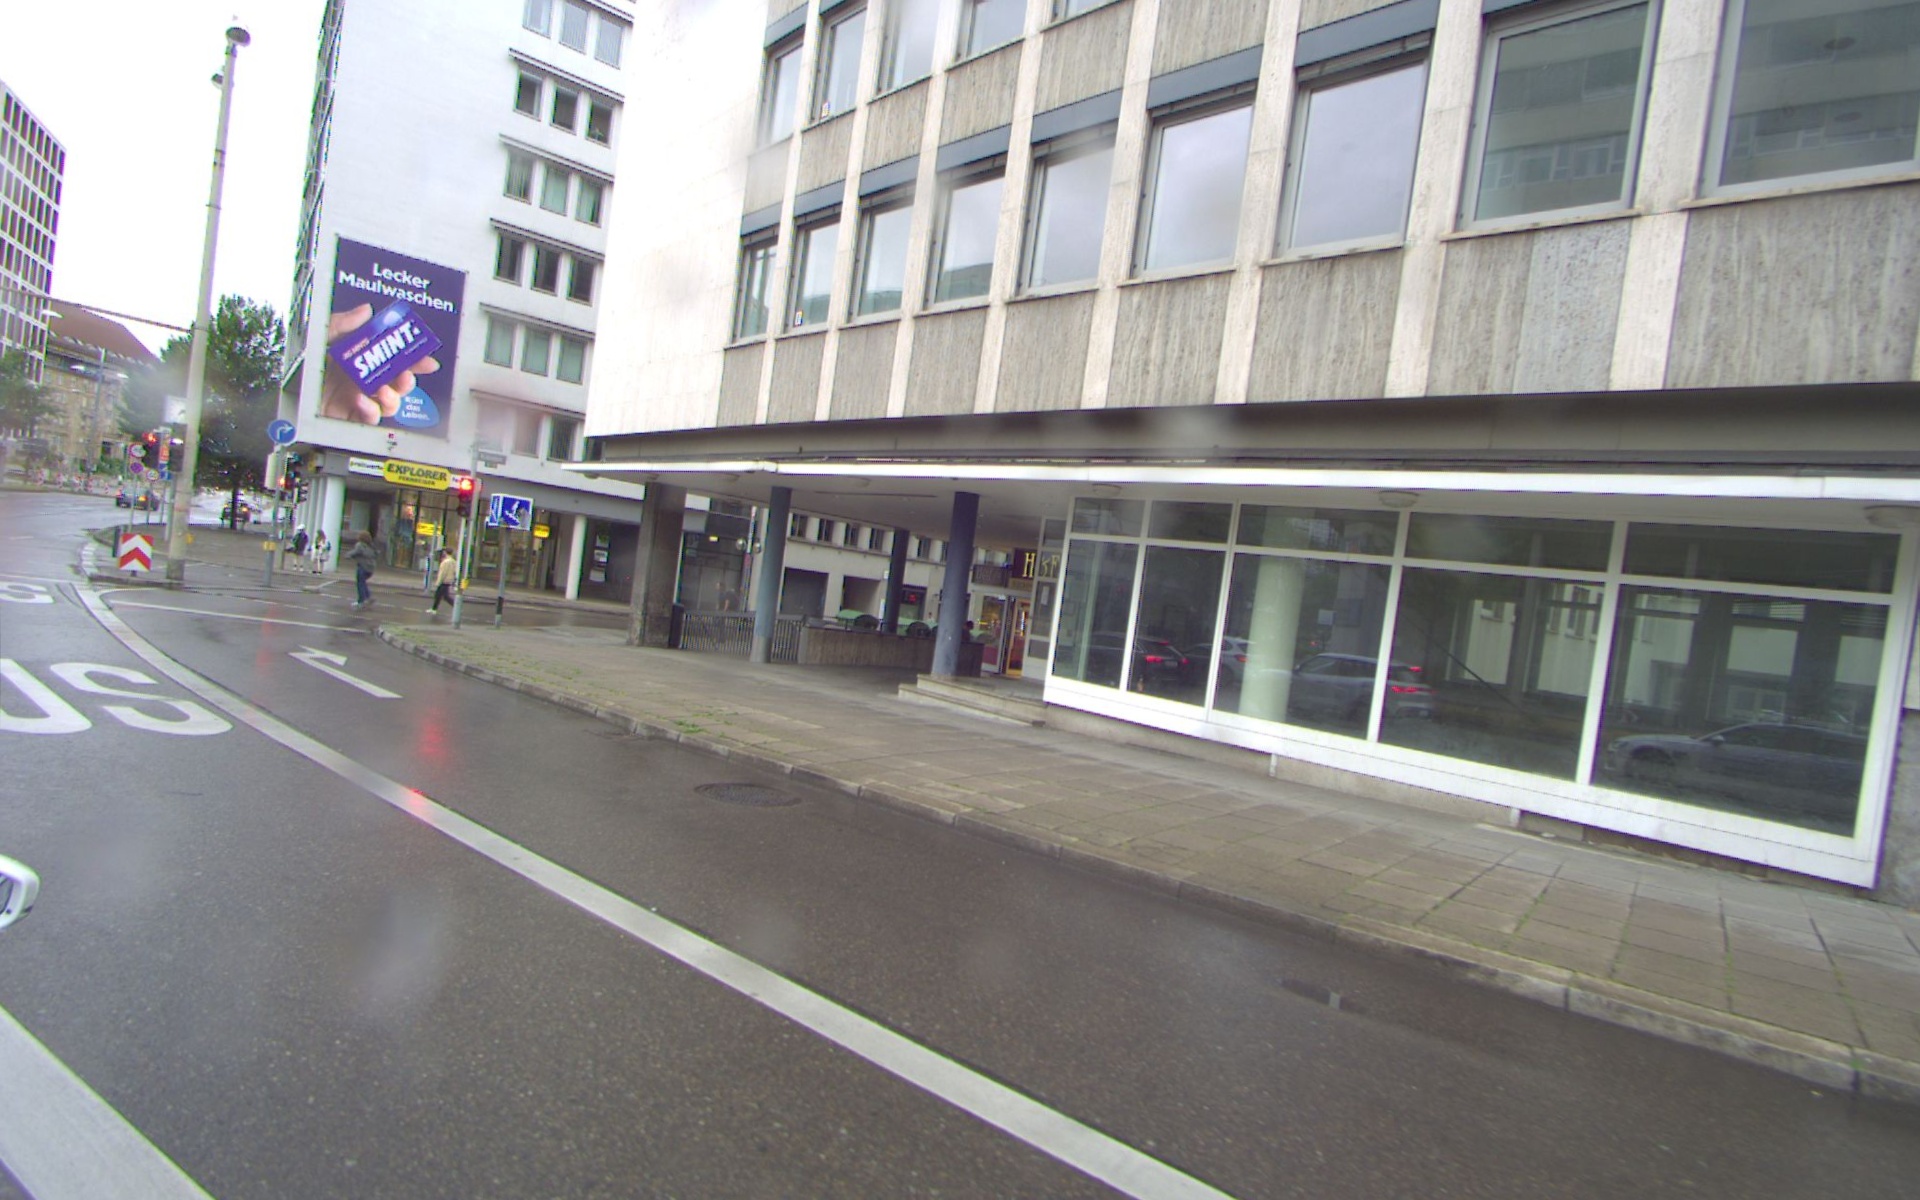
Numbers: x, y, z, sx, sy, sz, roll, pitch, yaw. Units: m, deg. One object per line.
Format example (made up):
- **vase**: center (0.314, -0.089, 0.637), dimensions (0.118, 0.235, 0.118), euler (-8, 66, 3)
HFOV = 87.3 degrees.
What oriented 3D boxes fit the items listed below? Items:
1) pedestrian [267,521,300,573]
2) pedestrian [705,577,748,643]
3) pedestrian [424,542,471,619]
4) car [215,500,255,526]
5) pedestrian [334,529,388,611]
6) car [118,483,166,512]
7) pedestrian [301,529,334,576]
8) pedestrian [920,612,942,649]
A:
- **pedestrian**: center (-23.535, -1.844, 35.000), dimensions (0.725, 1.688, 0.682), euler (7, 0, -42)
- **pedestrian**: center (-6.737, 0.290, 29.009), dimensions (1.002, 1.776, 0.793), euler (7, -1, -14)
- **pedestrian**: center (-13.062, -0.498, 25.628), dimensions (0.725, 1.820, 0.730), euler (7, 1, -42)
- **car**: center (-61.755, -7.373, 85.765), dimensions (2.032, 1.786, 4.324), euler (9, -2, -29)
- **pedestrian**: center (-14.290, -0.707, 23.990), dimensions (0.810, 1.820, 0.702), euler (7, 1, -42)
- **car**: center (-58.291, -7.282, 71.747), dimensions (1.897, 1.527, 4.321), euler (9, -2, -31)
- **pedestrian**: center (-22.577, -1.668, 35.362), dimensions (0.725, 1.542, 0.751), euler (7, 0, -42)
- **pedestrian**: center (-1.544, 1.617, 52.992), dimensions (0.677, 1.820, 0.722), euler (7, 0, -37)
